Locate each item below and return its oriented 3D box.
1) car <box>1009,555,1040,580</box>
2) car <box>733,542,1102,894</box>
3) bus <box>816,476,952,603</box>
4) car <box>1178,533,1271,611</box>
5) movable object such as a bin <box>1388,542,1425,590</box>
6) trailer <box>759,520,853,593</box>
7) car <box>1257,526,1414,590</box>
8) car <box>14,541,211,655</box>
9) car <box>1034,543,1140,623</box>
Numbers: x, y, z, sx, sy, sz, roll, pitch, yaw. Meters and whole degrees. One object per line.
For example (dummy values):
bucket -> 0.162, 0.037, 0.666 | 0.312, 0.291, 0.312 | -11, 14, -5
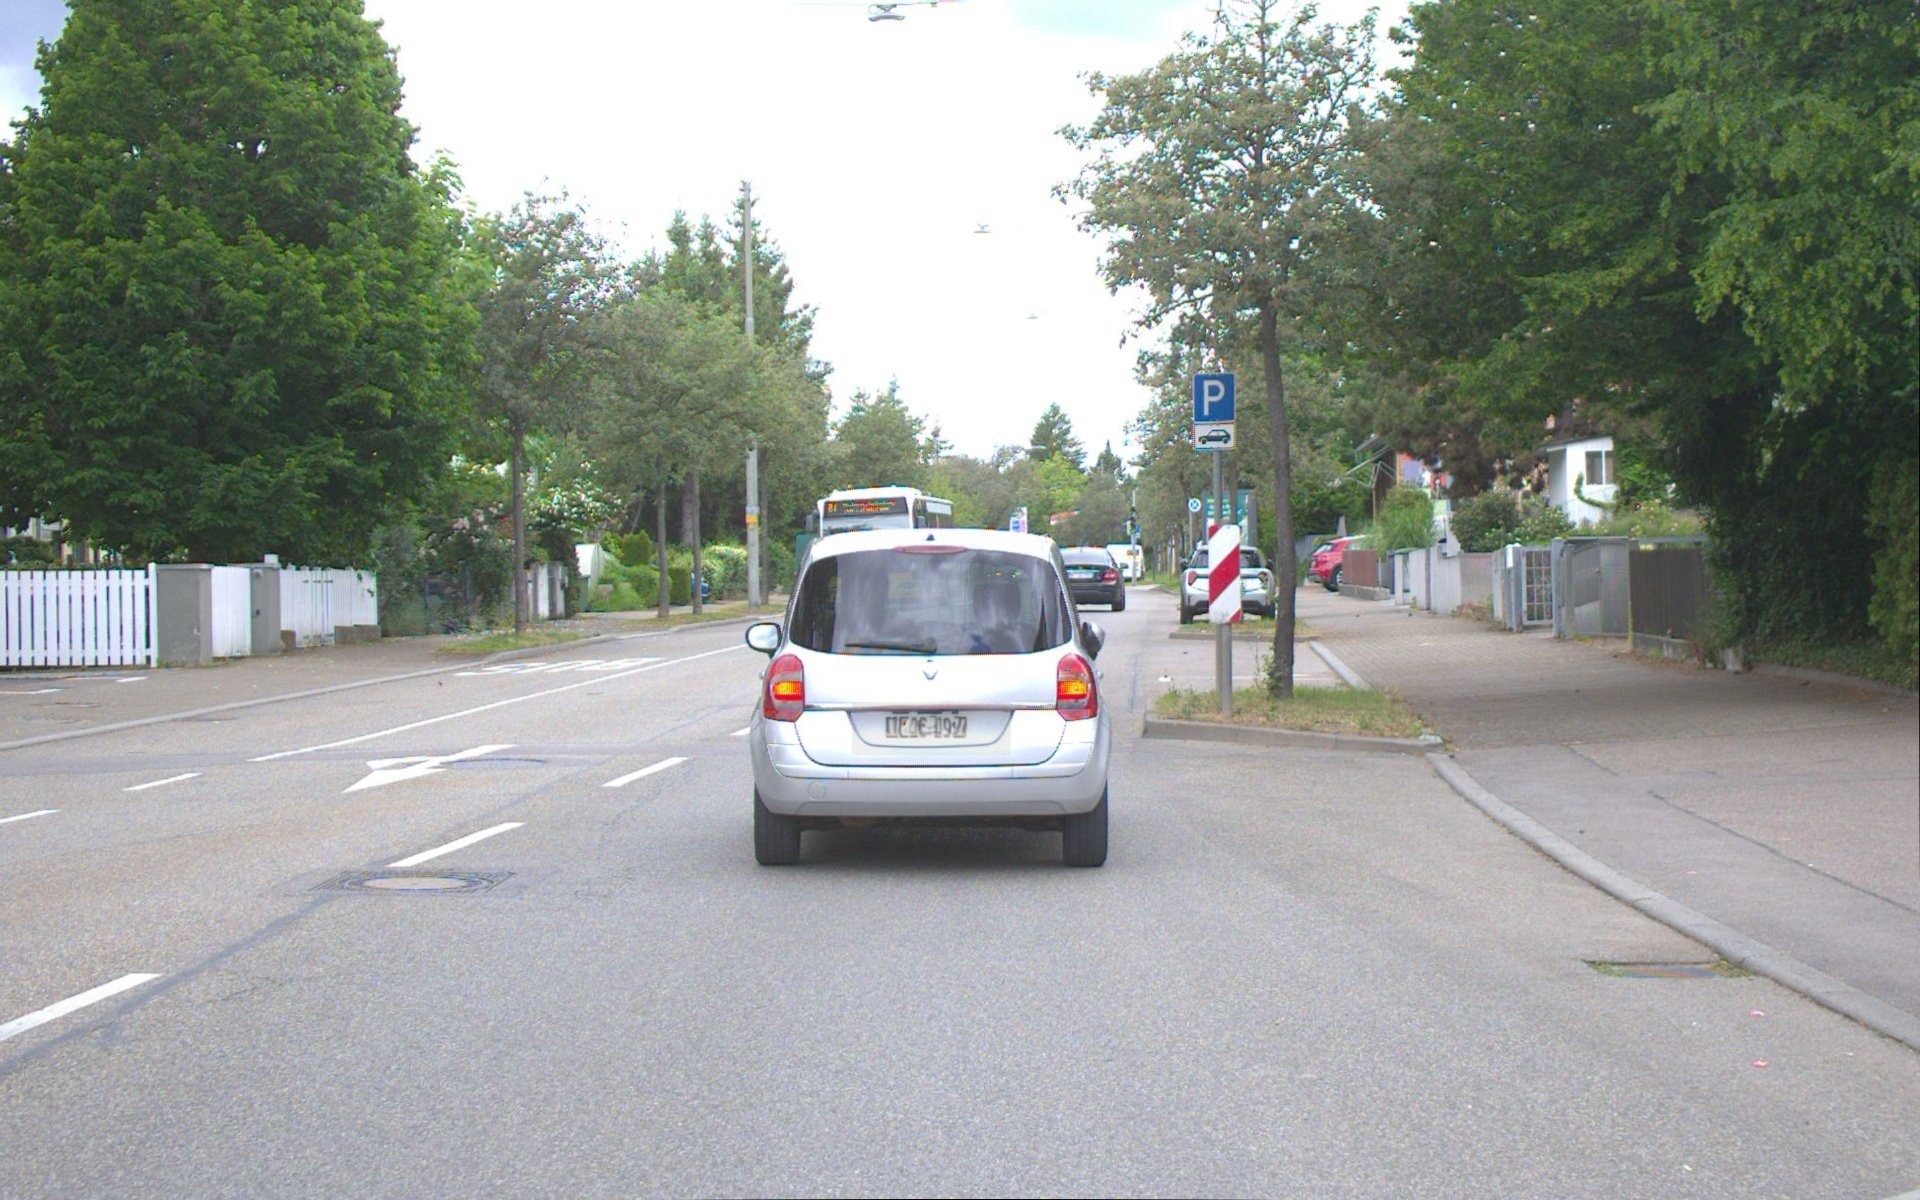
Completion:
car -> 4.333, -2.174, 230.777 | 1.905, 1.612, 4.000 | 0, 0, -2
car -> -0.150, 0.532, 17.323 | 1.630, 1.551, 4.000 | 1, 0, 1
bus -> -1.919, -1.600, 92.022 | 2.632, 3.075, 12.069 | -2, 1, 3
car -> 4.865, -0.491, 63.458 | 1.650, 1.378, 3.999 | 0, 0, 4
movable object such as a bin -> 10.413, -0.804, 80.166 | 0.776, 1.100, 0.691 | -1, 1, 3
trailer -> -4.565, -1.277, 102.785 | 2.312, 2.079, 5.872 | 1, 0, 2
car -> 10.432, -1.172, 95.733 | 3.986, 1.491, 1.810 | -4, 1, -5
car -> -12.810, -0.072, 52.249 | 1.806, 1.559, 4.618 | -3, 1, 0
car -> 2.807, -0.384, 75.257 | 1.830, 1.670, 3.573 | -1, 0, 10
